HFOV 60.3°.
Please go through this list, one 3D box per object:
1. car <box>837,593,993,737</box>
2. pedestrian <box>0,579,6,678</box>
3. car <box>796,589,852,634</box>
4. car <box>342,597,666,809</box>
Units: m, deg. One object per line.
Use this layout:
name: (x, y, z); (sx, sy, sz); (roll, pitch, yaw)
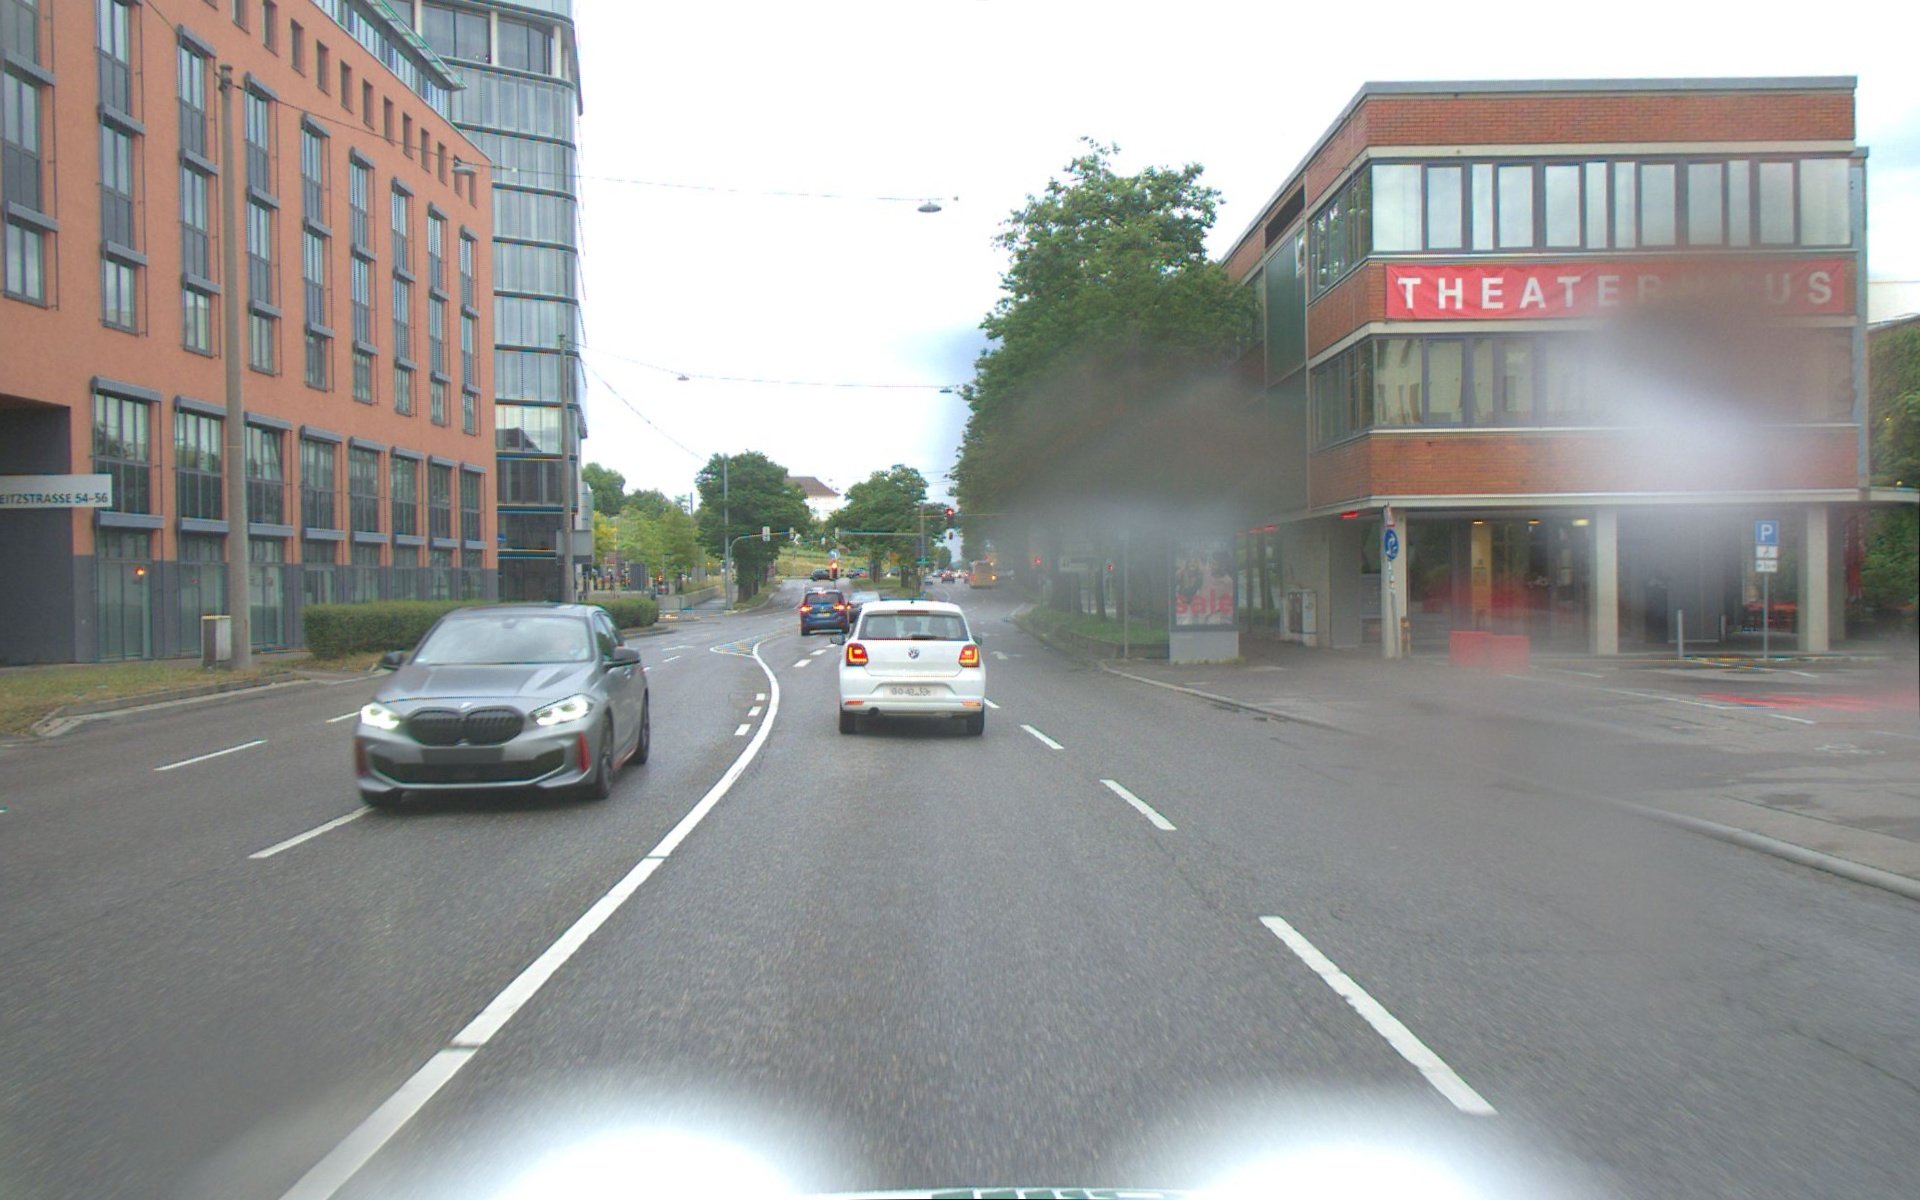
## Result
car: (-0.600, 0.681, 19.471); (1.638, 1.499, 3.776); (-1, 0, -4)
pedestrian: (-18.706, 0.562, 30.522); (1.288, 1.855, 1.439); (-3, -1, 0)
car: (-5.117, 0.419, 62.629); (1.954, 1.601, 3.998); (-1, 0, -3)
car: (-3.466, 0.700, 13.300); (1.678, 1.389, 3.997); (-2, 0, -4)
